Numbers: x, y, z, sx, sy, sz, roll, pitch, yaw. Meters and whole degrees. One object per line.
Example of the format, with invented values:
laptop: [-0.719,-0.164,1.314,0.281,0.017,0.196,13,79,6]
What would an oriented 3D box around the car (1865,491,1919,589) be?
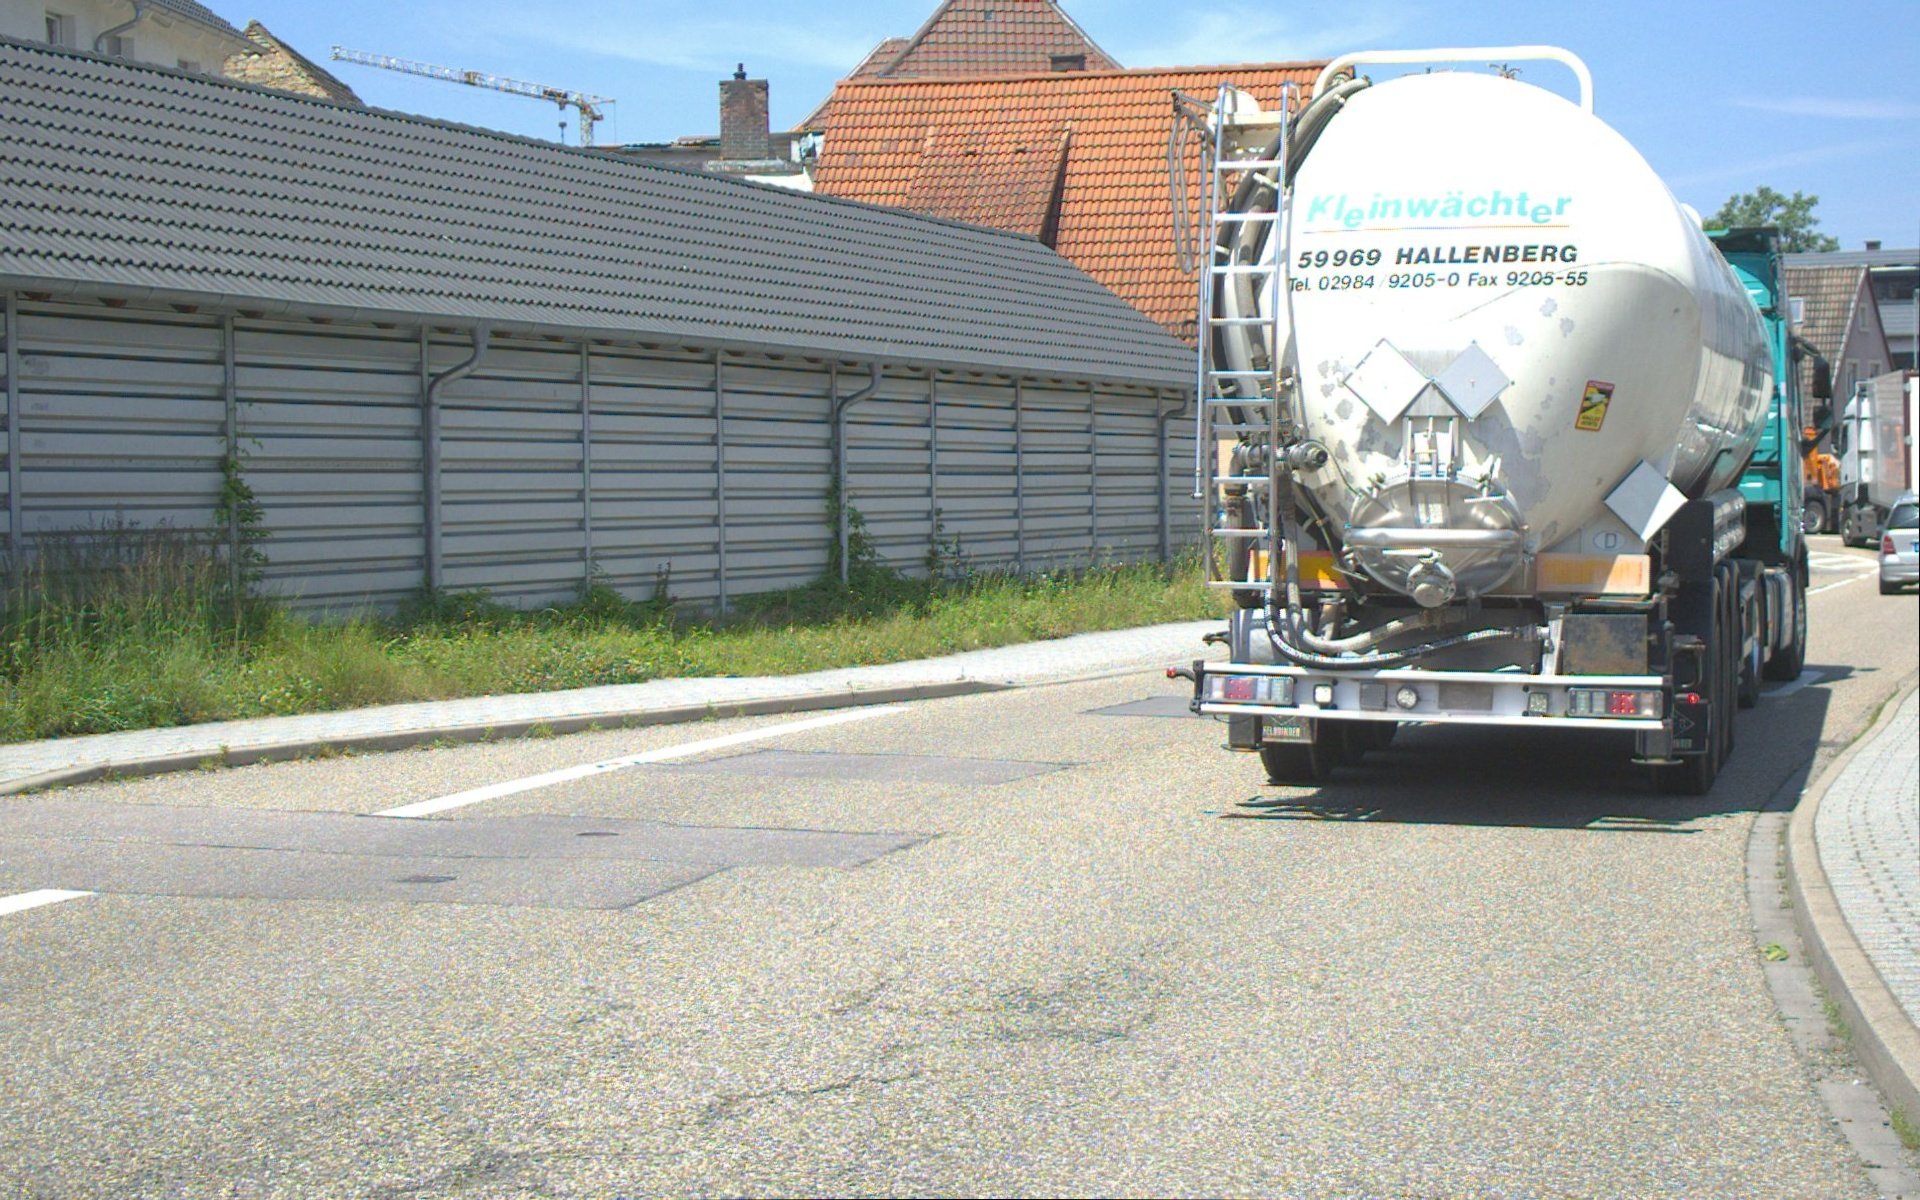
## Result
car: [15.170,-0.956,53.639,1.843,1.481,3.998,0,1,12]

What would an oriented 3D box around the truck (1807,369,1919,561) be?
truck: [22.532,-3.166,81.778,3.104,4.386,5.936,-1,1,-2]

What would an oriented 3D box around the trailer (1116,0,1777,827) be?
trailer: [3.638,-1.040,22.093,2.954,3.934,11.612,0,1,14]

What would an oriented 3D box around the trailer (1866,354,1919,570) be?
trailer: [21.345,-2.901,73.902,3.134,4.262,12.489,0,1,13]

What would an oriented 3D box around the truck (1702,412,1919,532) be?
truck: [24.703,-3.590,97.695,7.439,3.170,2.669,0,1,-35]

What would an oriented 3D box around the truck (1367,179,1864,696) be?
truck: [5.762,-1.310,29.460,2.991,3.951,5.572,0,1,24]
